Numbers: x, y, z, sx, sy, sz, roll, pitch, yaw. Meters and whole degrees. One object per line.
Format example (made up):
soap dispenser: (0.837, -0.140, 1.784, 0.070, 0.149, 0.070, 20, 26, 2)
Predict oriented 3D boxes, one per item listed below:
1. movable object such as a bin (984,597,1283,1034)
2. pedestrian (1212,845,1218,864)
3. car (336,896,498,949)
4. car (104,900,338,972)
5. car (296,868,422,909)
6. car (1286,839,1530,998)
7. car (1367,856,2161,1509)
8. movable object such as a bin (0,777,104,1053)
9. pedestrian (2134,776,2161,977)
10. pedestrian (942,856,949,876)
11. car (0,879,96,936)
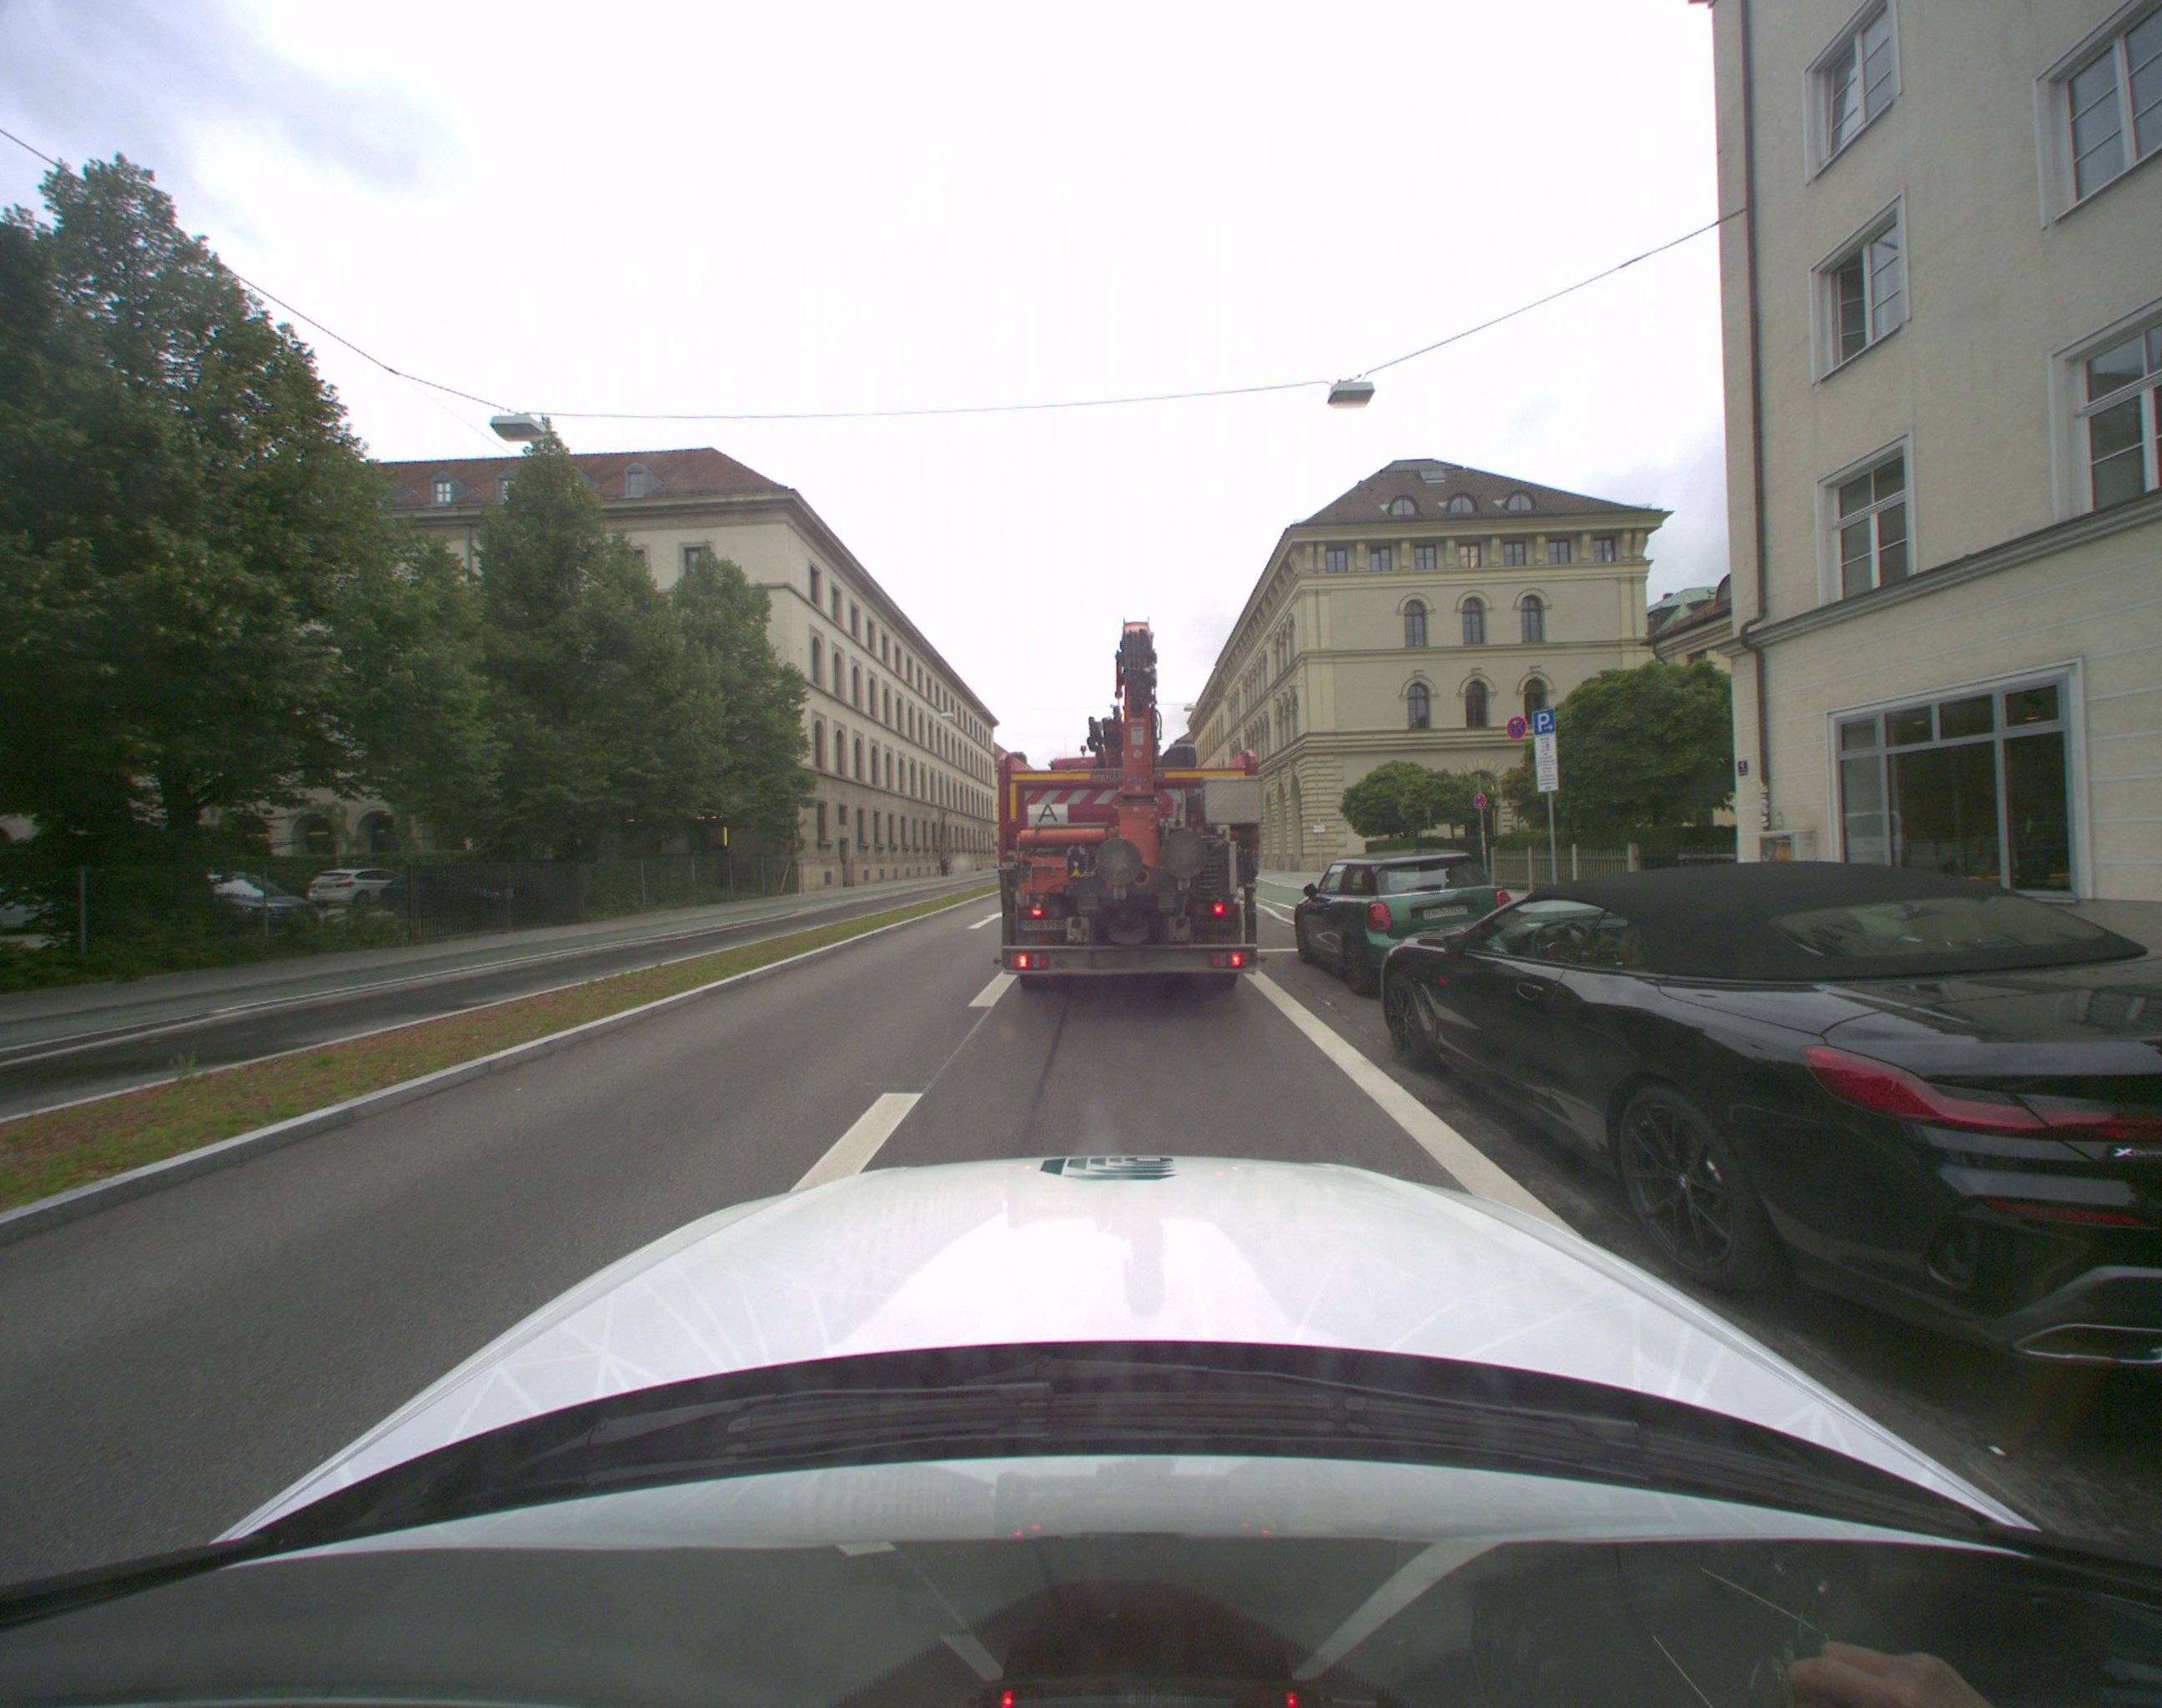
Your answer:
movable object such as a bin: (0.516, -0.328, 9.752, 2.414, 3.611, 5.853, -1, 0, 1)
pedestrian: (12.925, 0.068, 78.473, 0.444, 1.836, 0.556, -2, 0, 3)
car: (-22.342, 2.271, 27.528, 3.914, 1.545, 1.836, -1, 0, 0)
car: (-21.619, 2.029, 20.599, 3.914, 1.545, 1.836, -1, 0, 0)
car: (-30.828, 1.422, 34.960, 1.824, 1.545, 3.941, -1, 0, 1)
car: (3.616, 0.630, 9.658, 1.604, 1.495, 3.426, -2, 0, 2)
car: (2.940, 0.730, 3.989, 1.673, 1.386, 4.429, -1, 0, 2)
movable object such as a bin: (-10.998, 0.603, 6.257, 1.996, 2.641, 4.645, -2, 0, -13)
pedestrian: (10.264, 0.198, 7.220, 0.787, 1.836, 0.778, -2, 0, 3)
pedestrian: (-12.365, 1.084, 74.332, 0.586, 1.831, 0.499, -1, 0, 1)
car: (-31.398, 1.567, 23.061, 1.824, 1.545, 4.178, -1, 0, 1)
